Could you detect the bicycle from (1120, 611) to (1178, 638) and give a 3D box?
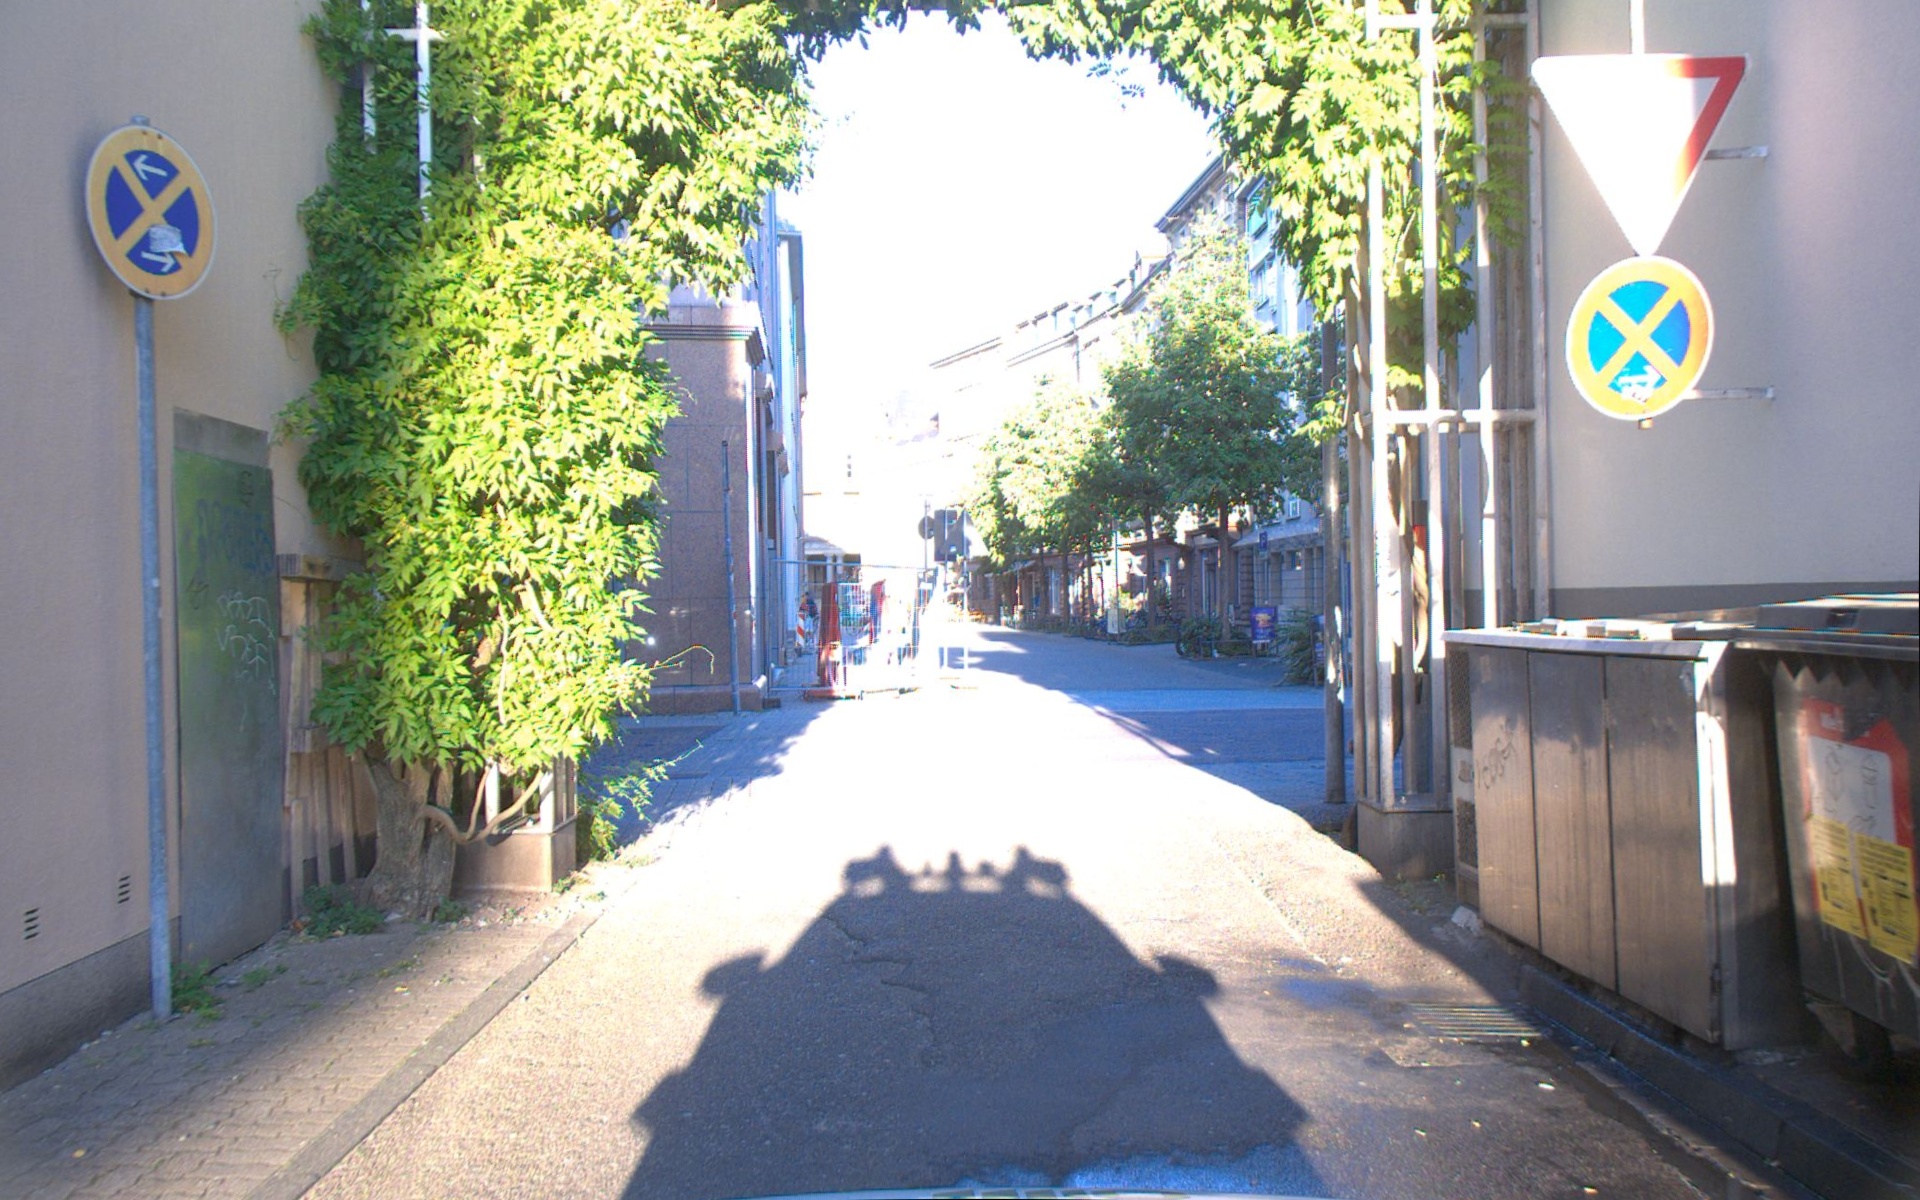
[{"bbox_3d":[7.121,0.914,62.276,2.119,0.942,0.587,-1,-1,-18],"label":"bicycle"}]

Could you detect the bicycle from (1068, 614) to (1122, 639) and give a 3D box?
[{"bbox_3d":[5.498,1.097,67.529,2.114,0.942,0.589,-2,-1,-10],"label":"bicycle"}]

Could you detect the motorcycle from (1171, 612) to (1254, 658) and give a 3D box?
[{"bbox_3d":[6.809,0.948,44.589,2.111,1.171,0.493,-2,-1,-6],"label":"motorcycle"}]

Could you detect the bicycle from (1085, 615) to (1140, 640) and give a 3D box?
[{"bbox_3d":[6.132,1.102,66.412,2.114,0.942,0.589,-2,-1,-10],"label":"bicycle"}]

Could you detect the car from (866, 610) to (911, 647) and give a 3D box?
[{"bbox_3d":[-3.490,1.349,80.122,1.807,1.713,3.638,-2,0,-7],"label":"car"}]

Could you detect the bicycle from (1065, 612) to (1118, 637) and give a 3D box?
[{"bbox_3d":[5.444,1.015,68.489,2.114,0.942,0.589,-2,-1,-10],"label":"bicycle"}]

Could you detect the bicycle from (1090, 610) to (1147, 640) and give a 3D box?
[{"bbox_3d":[6.159,0.972,64.142,2.107,1.080,0.591,-2,-1,12],"label":"bicycle"}]

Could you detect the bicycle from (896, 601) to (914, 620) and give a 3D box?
[{"bbox_3d":[-3.335,0.661,100.358,0.579,1.114,2.151,-1,-1,-15],"label":"bicycle"}]

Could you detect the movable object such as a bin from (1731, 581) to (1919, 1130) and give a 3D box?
[{"bbox_3d":[2.746,0.618,4.333,0.818,1.327,1.290,-3,0,2],"label":"movable object such as a bin"}]

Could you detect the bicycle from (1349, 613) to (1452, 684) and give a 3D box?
[{"bbox_3d":[7.559,0.826,28.409,1.621,1.069,0.663,-4,0,16],"label":"bicycle"}]

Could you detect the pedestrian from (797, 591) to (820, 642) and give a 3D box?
[{"bbox_3d":[-5.076,0.539,55.360,0.641,1.680,0.634,-1,0,2],"label":"pedestrian"}]

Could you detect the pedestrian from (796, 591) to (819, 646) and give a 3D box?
[{"bbox_3d":[-5.028,0.602,54.704,0.641,1.795,0.634,-1,0,2],"label":"pedestrian"}]

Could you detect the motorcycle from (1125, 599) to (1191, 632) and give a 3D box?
[{"bbox_3d":[7.331,0.572,61.161,2.440,1.114,0.586,-1,-1,-25],"label":"motorcycle"}]
